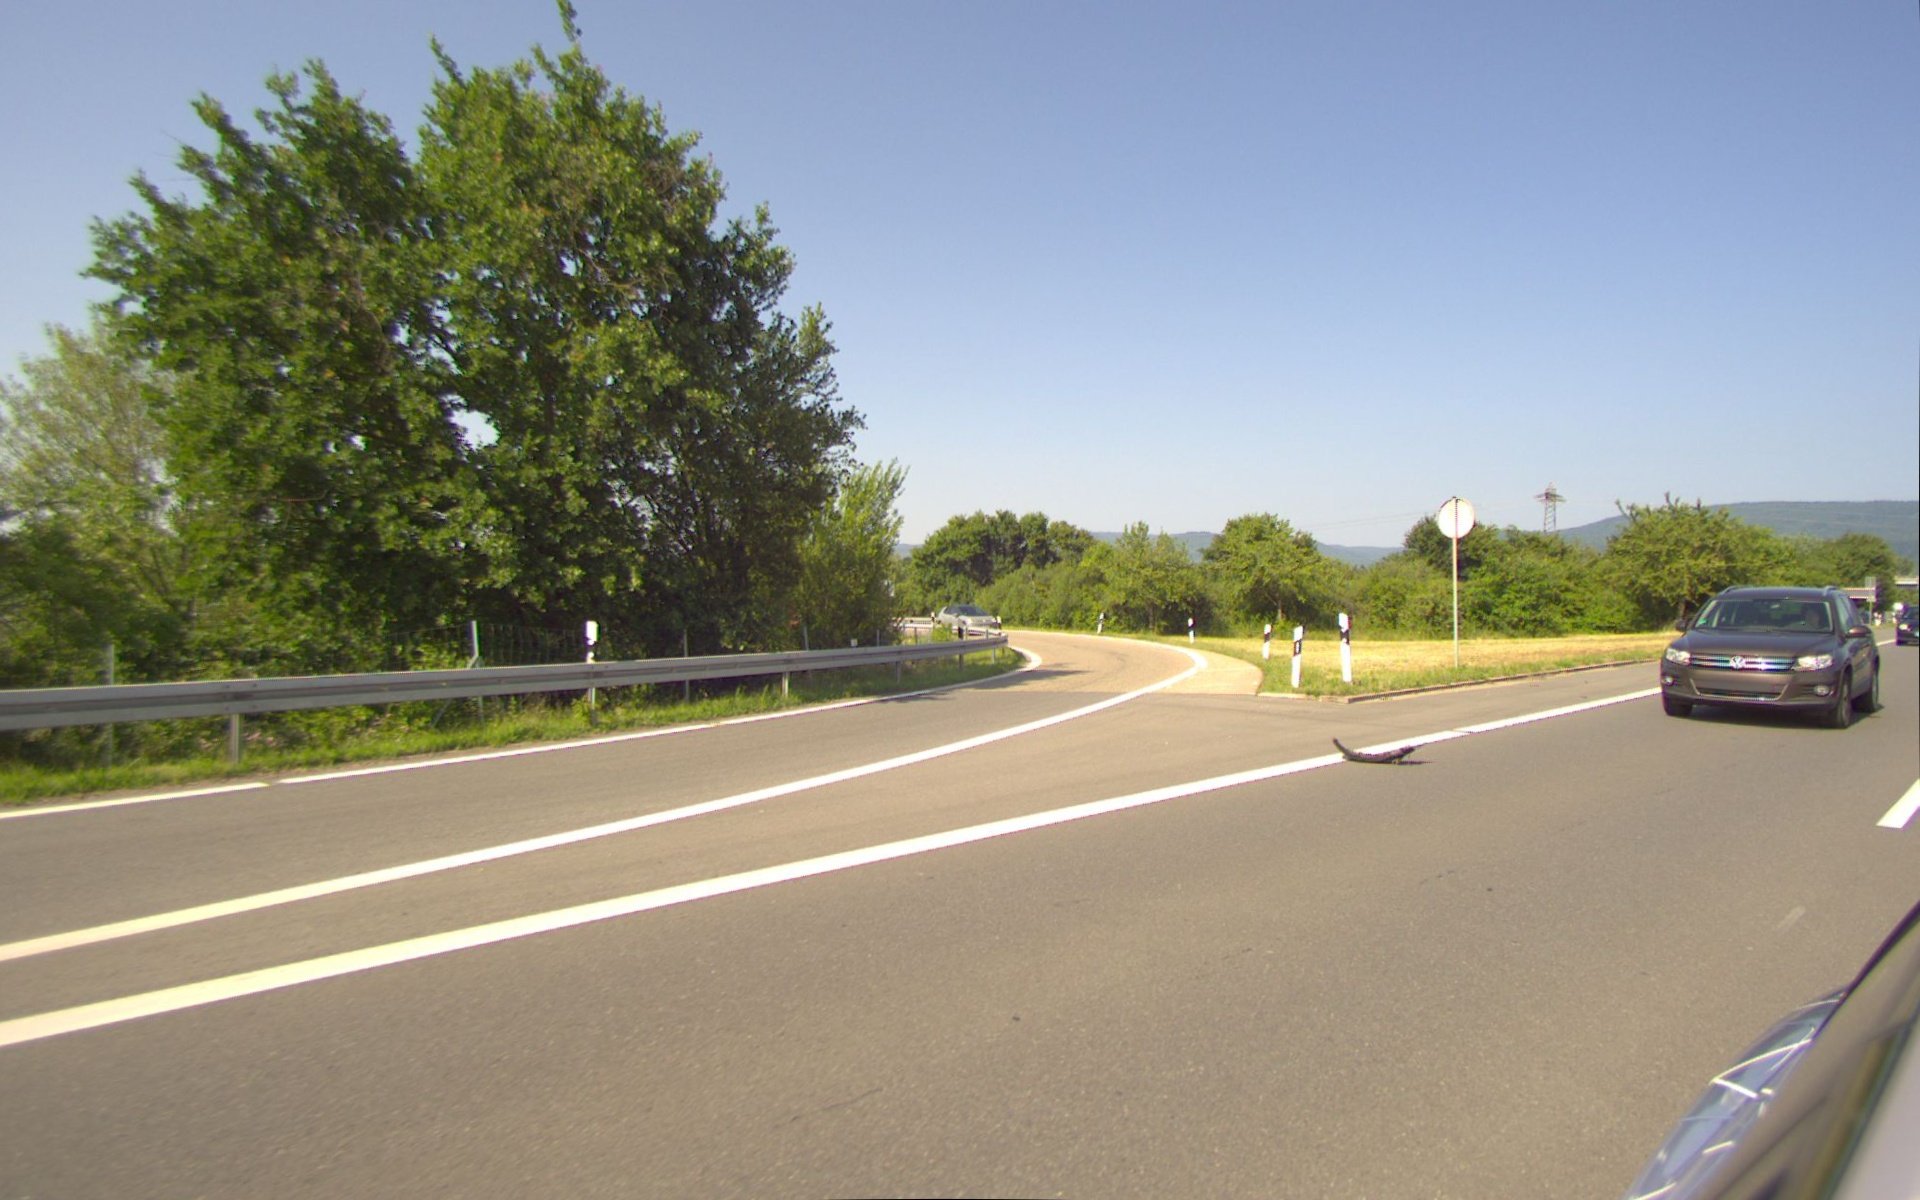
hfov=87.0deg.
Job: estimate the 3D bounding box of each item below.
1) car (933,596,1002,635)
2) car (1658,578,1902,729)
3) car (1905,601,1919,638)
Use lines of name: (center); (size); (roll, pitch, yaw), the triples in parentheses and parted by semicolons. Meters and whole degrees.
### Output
car: (0.345, 0.774, 52.291); (1.828, 1.686, 4.007); (-3, 4, -28)
car: (10.766, 0.559, 13.186); (4.075, 1.667, 1.788); (-1, 1, -41)
car: (34.807, 0.673, 35.932); (3.933, 1.264, 1.598); (-1, 0, -43)
